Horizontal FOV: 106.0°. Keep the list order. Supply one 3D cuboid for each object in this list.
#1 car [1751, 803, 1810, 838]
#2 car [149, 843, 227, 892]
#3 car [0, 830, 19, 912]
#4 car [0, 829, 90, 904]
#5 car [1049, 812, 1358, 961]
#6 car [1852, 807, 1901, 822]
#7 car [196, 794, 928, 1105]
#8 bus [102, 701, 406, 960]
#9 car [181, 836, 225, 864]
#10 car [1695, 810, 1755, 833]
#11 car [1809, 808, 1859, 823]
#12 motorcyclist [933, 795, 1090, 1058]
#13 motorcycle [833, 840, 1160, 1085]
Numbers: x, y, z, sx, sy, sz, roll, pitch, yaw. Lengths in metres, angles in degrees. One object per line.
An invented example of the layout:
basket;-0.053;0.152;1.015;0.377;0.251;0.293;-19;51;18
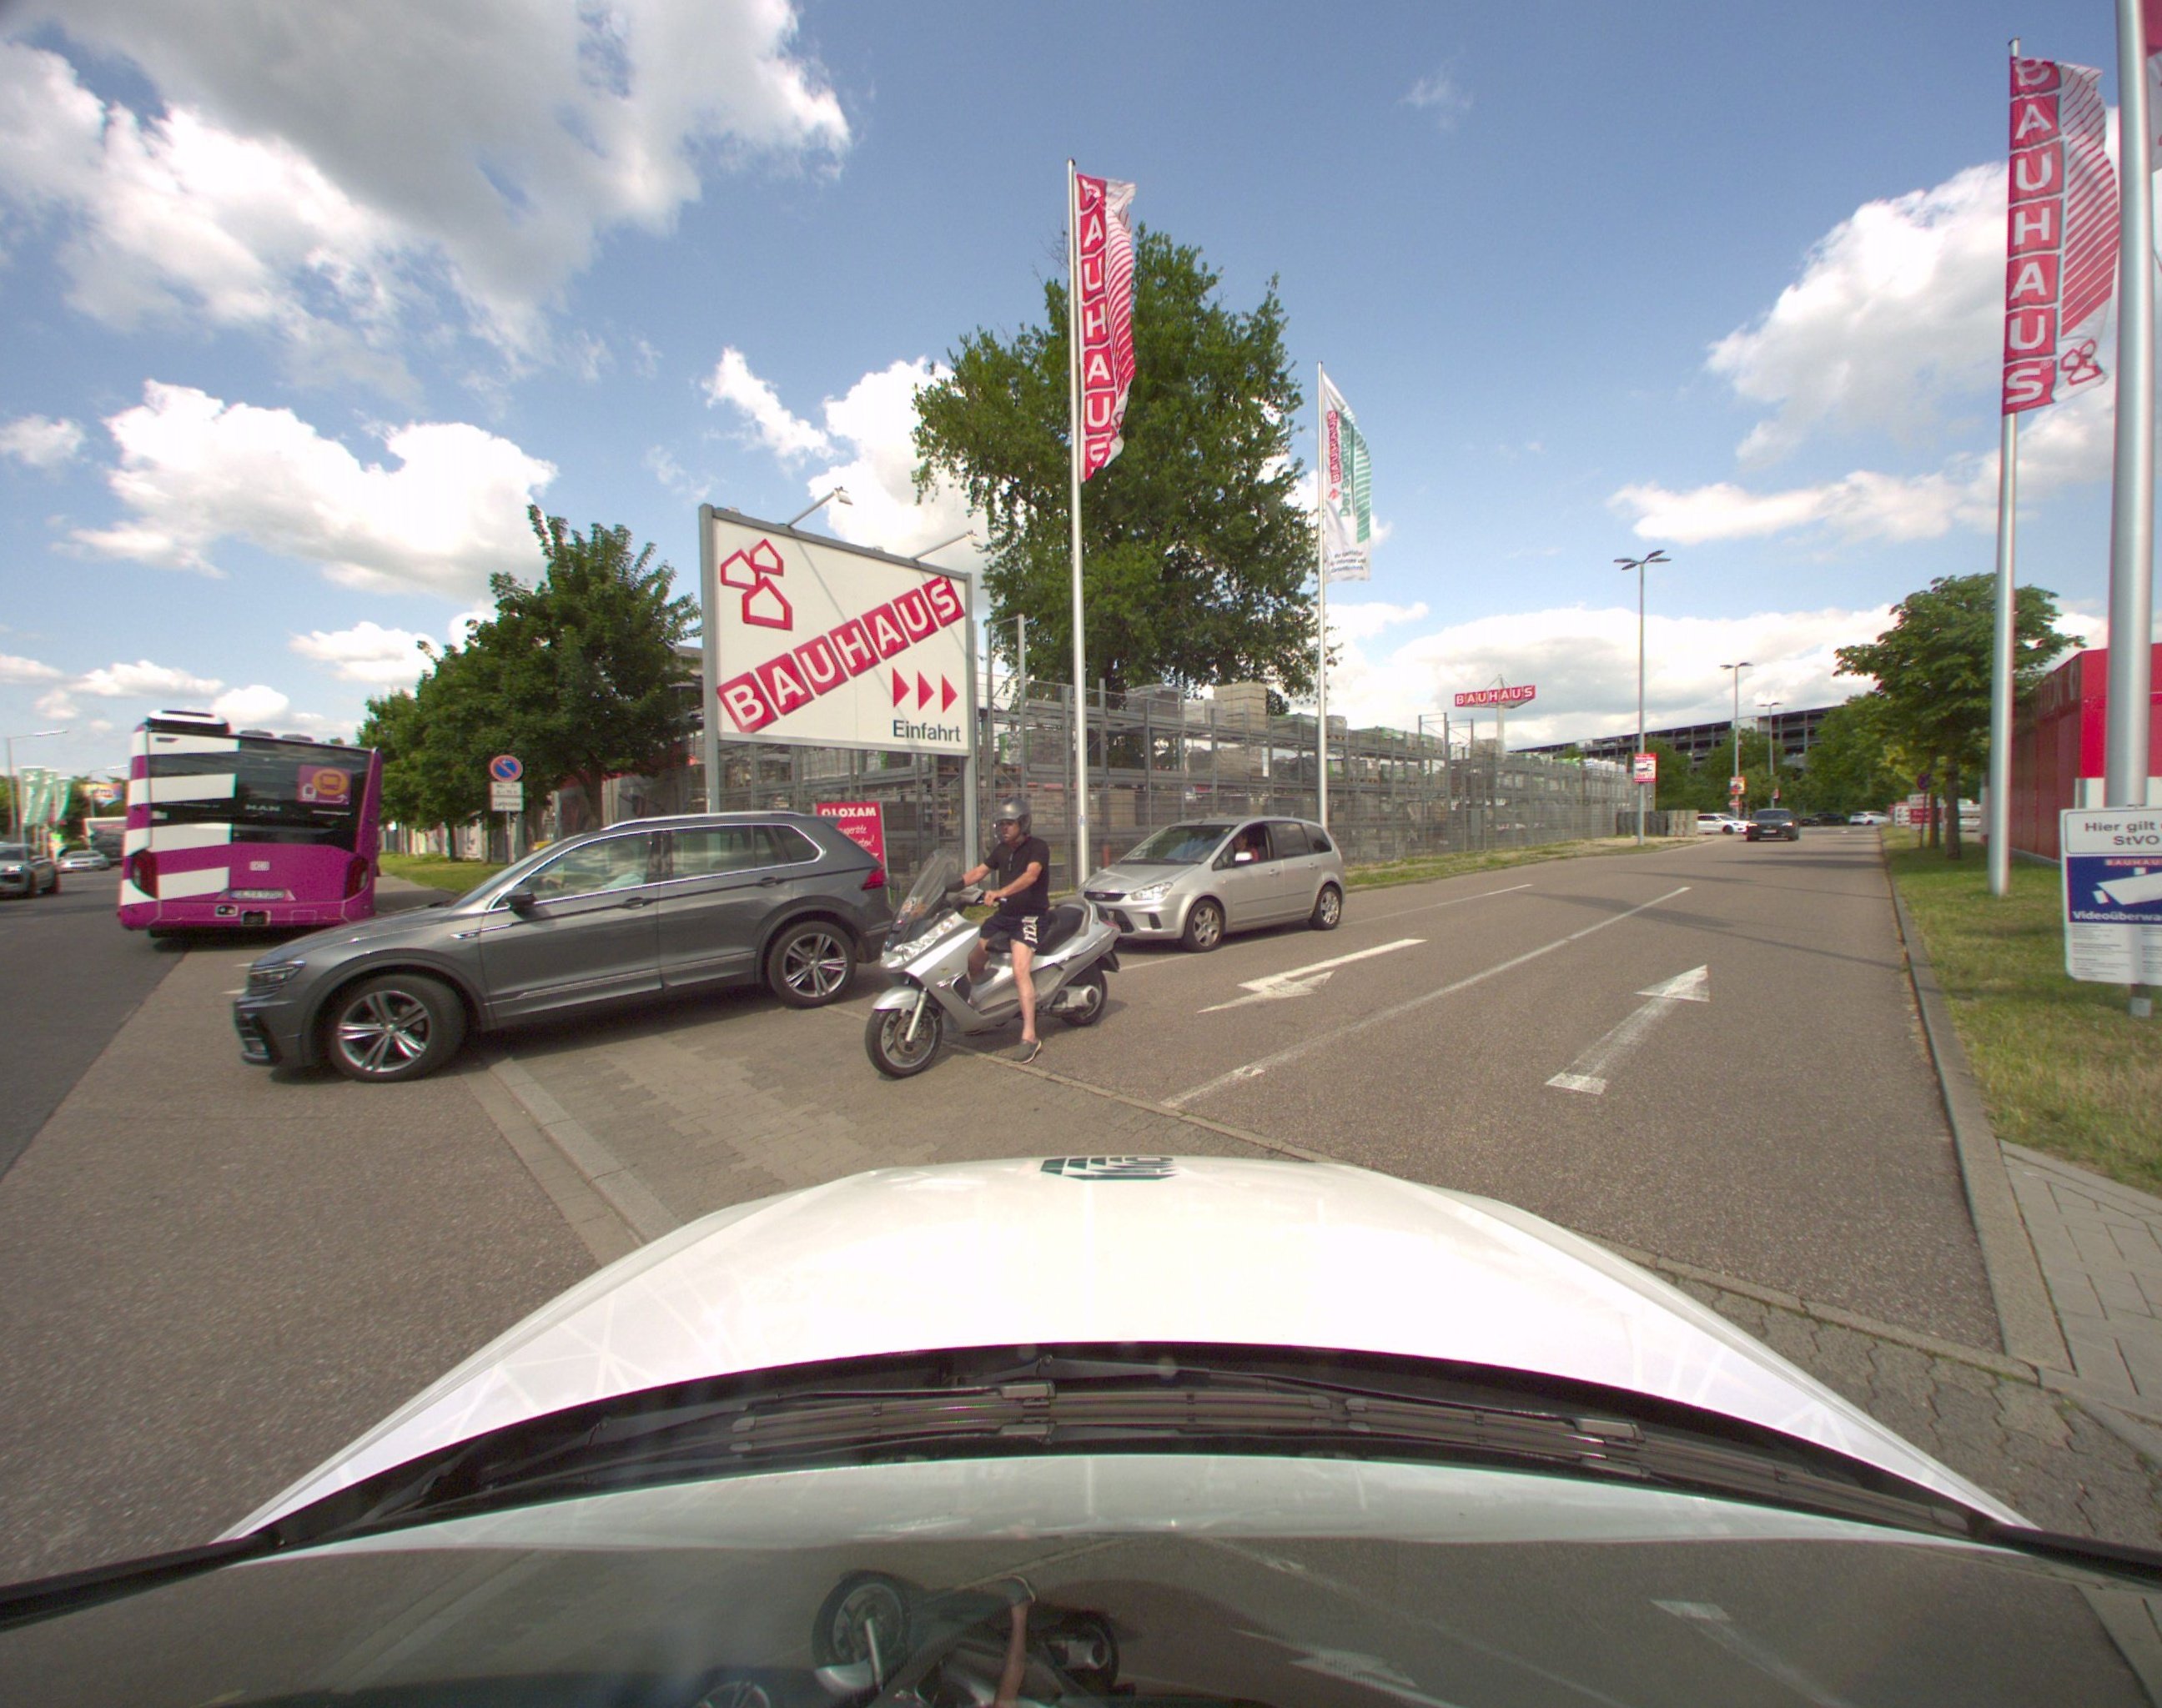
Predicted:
car;35.250;-1.697;41.004;4.400;1.618;1.898;-4;2;-44
car;-33.524;0.504;30.668;1.693;1.729;3.951;1;-1;-44
car;-25.559;0.450;17.785;2.011;1.913;4.730;-3;3;-43
car;-30.987;0.330;23.703;2.011;2.013;4.730;-3;3;-43
car;1.766;0.268;10.778;4.232;1.564;1.703;-3;2;-41
car;79.736;-3.965;81.606;3.541;1.411;1.667;-2;2;-6
car;-3.707;0.465;6.695;4.403;1.665;1.752;-5;4;-33
bus;-15.552;-0.396;15.707;2.910;3.363;11.427;-3;3;-44
car;-68.002;-0.318;63.139;2.012;2.013;3.951;-3;3;-43
car;43.702;-2.189;55.298;1.536;1.514;2.871;-2;2;-25
car;79.391;-4.066;85.848;4.230;1.410;1.727;-2;2;-11
motorcyclist;-0.476;0.432;5.542;0.690;1.628;0.779;-3;2;-42
motorcycle;-0.472;0.593;5.547;2.225;1.305;0.664;-3;2;-42
